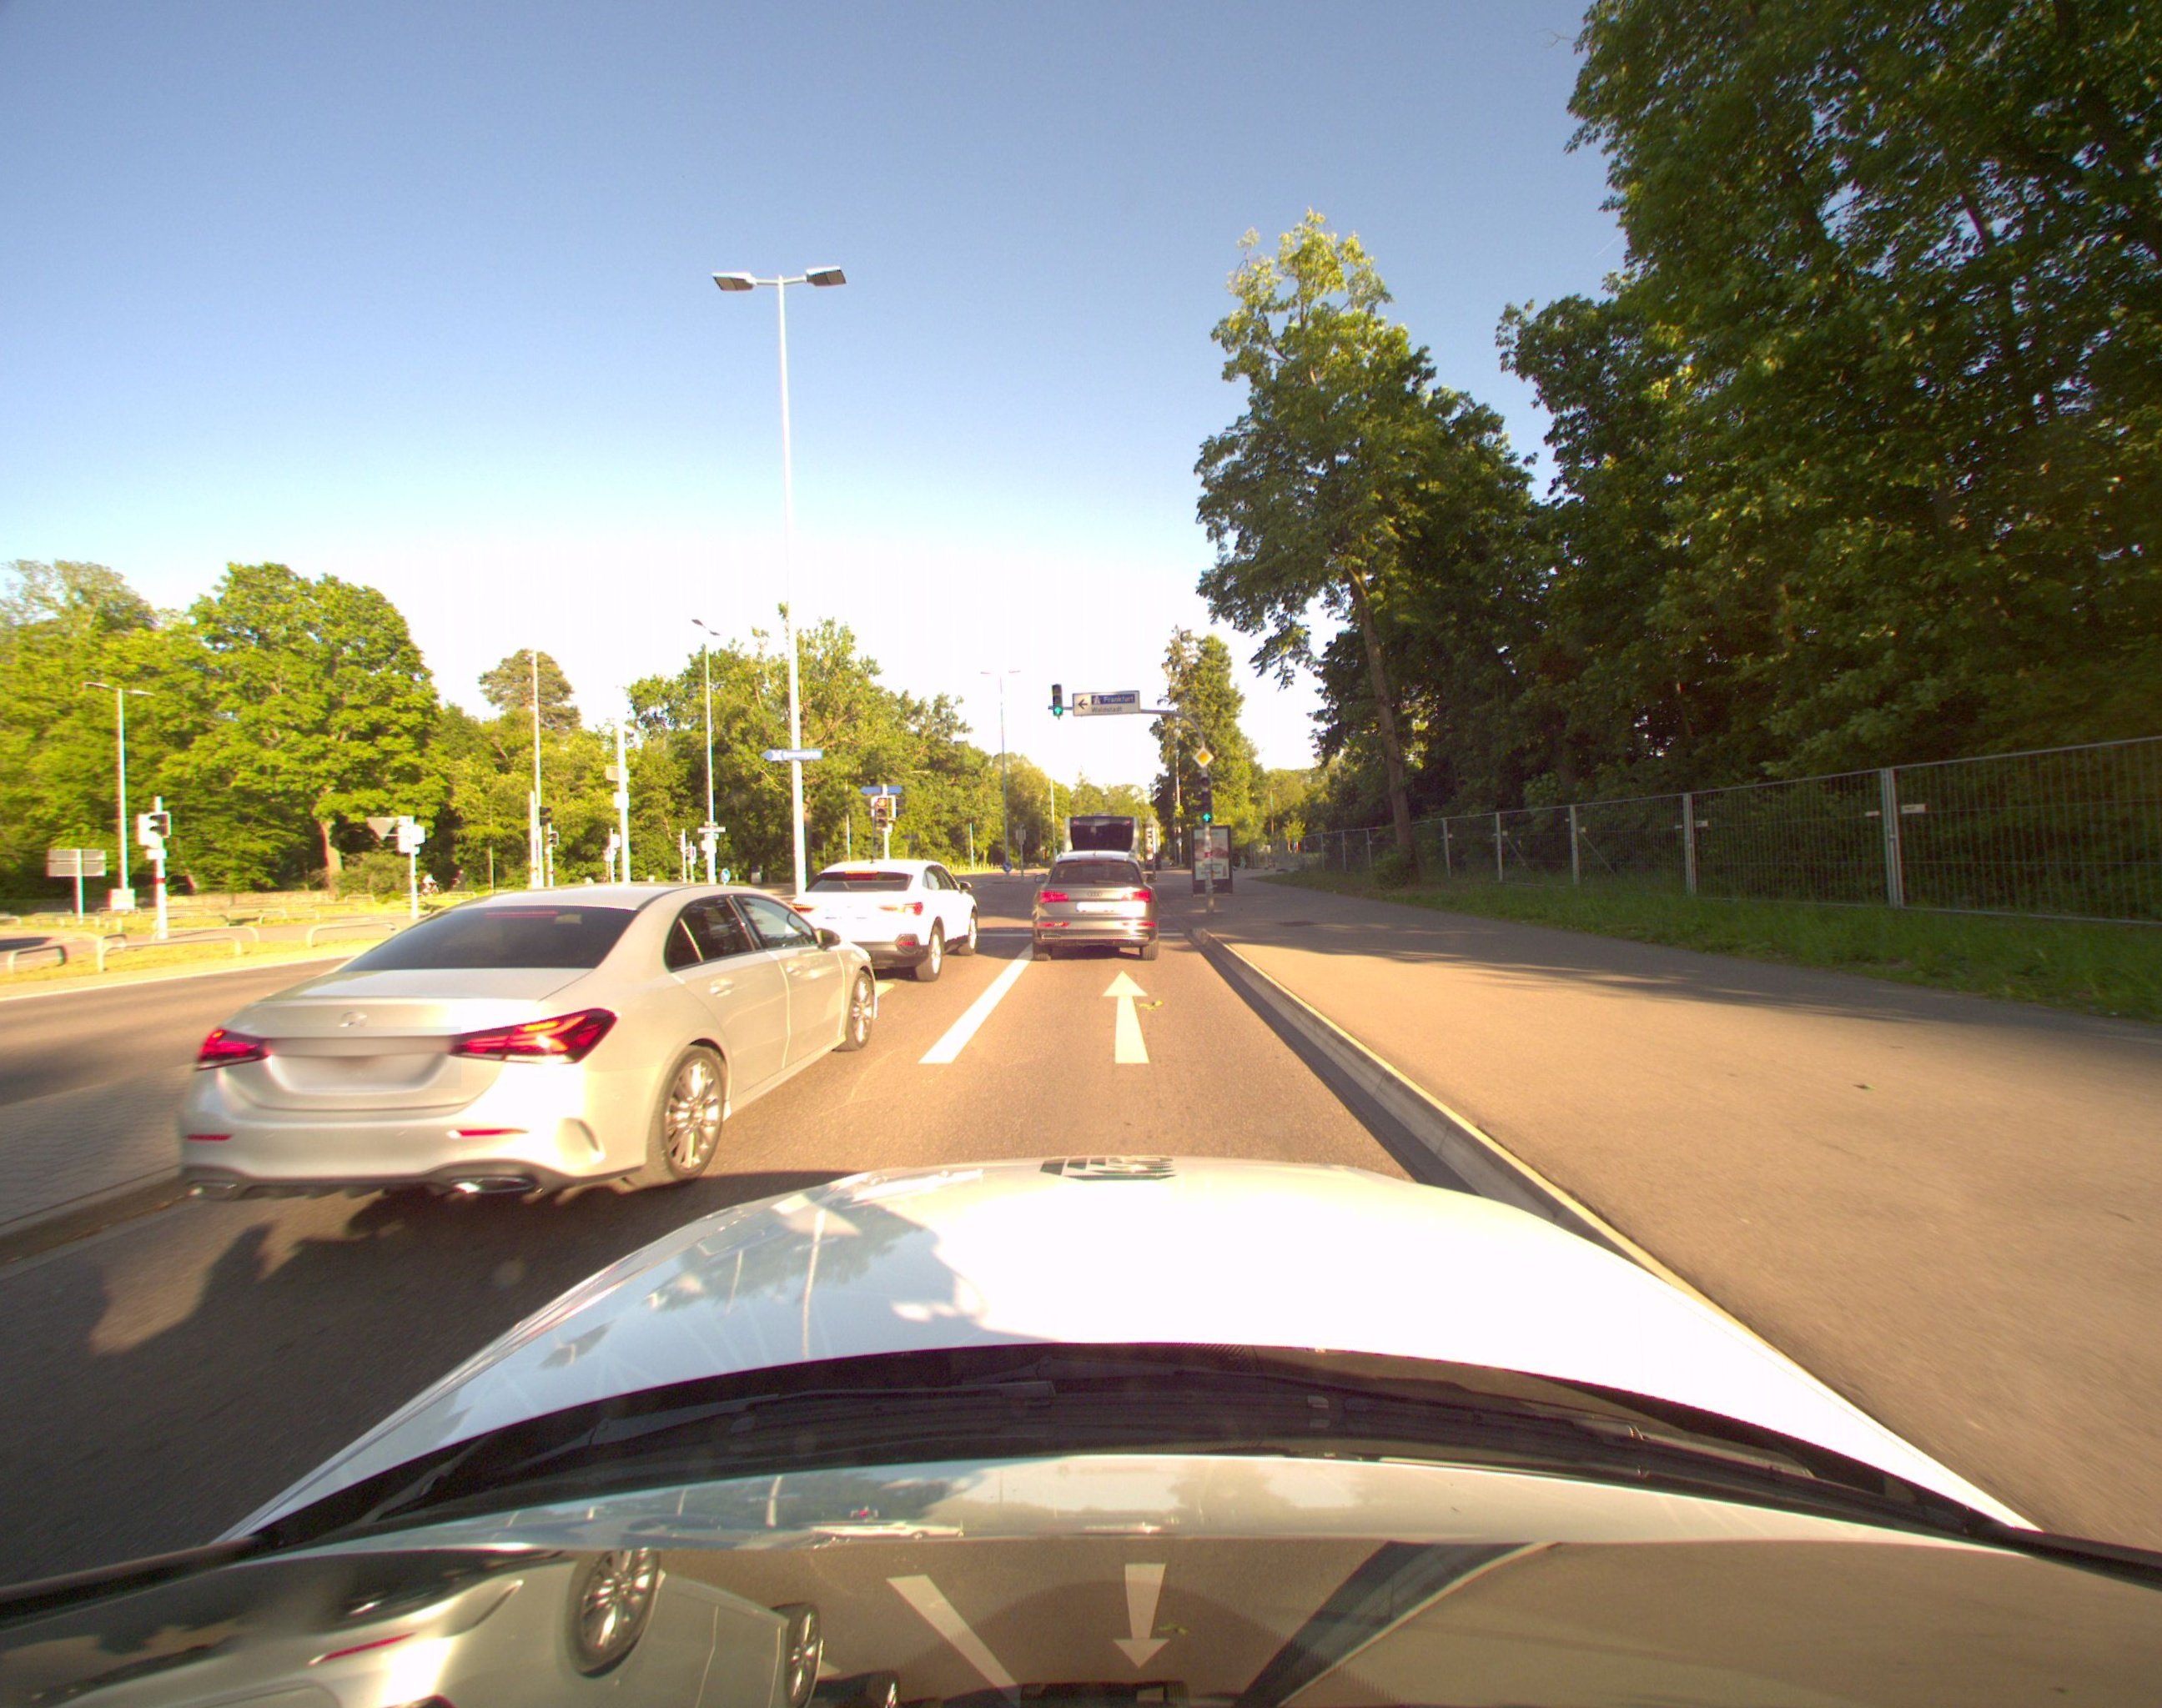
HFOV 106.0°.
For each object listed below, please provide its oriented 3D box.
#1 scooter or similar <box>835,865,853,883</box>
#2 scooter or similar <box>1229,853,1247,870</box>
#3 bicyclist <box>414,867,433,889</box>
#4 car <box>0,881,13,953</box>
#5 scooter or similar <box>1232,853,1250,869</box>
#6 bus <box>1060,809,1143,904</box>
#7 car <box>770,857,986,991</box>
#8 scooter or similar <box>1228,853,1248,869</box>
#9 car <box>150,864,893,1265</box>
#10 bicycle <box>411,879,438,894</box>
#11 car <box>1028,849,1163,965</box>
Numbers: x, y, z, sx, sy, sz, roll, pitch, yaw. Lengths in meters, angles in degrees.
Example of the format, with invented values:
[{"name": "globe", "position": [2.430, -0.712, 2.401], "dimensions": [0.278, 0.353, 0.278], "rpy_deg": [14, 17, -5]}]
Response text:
[{"name": "scooter or similar", "position": [-15.739, 1.308, 54.013], "dimensions": [1.060, 1.146, 0.395], "rpy_deg": [-2, 0, 10]}, {"name": "scooter or similar", "position": [11.874, 0.570, 61.465], "dimensions": [1.258, 1.147, 0.395], "rpy_deg": [-4, -2, 9]}, {"name": "bicyclist", "position": [-45.686, 1.653, 56.584], "dimensions": [0.790, 1.483, 0.734], "rpy_deg": [-1, -1, 23]}, {"name": "car", "position": [-25.891, 1.473, 17.772], "dimensions": [4.518, 1.553, 1.902], "rpy_deg": [-2, 1, 21]}, {"name": "scooter or similar", "position": [12.227, 0.552, 62.056], "dimensions": [1.233, 1.167, 0.396], "rpy_deg": [-3, -2, 27]}, {"name": "bus", "position": [0.851, 0.114, 32.287], "dimensions": [2.679, 3.042, 12.045], "rpy_deg": [0, 0, 2]}, {"name": "car", "position": [-2.596, 0.813, 11.539], "dimensions": [1.827, 1.513, 4.302], "rpy_deg": [-1, 0, 2]}, {"name": "scooter or similar", "position": [12.533, 0.574, 64.987], "dimensions": [1.424, 1.167, 0.396], "rpy_deg": [-4, -2, 31]}, {"name": "car", "position": [-2.604, 0.818, 5.210], "dimensions": [1.651, 1.427, 4.320], "rpy_deg": [-1, 0, 2]}, {"name": "bicycle", "position": [-45.602, 2.271, 56.546], "dimensions": [1.571, 0.977, 0.789], "rpy_deg": [-1, -1, 23]}, {"name": "car", "position": [0.273, 0.742, 13.633], "dimensions": [1.886, 1.605, 4.546], "rpy_deg": [0, 0, 2]}]
